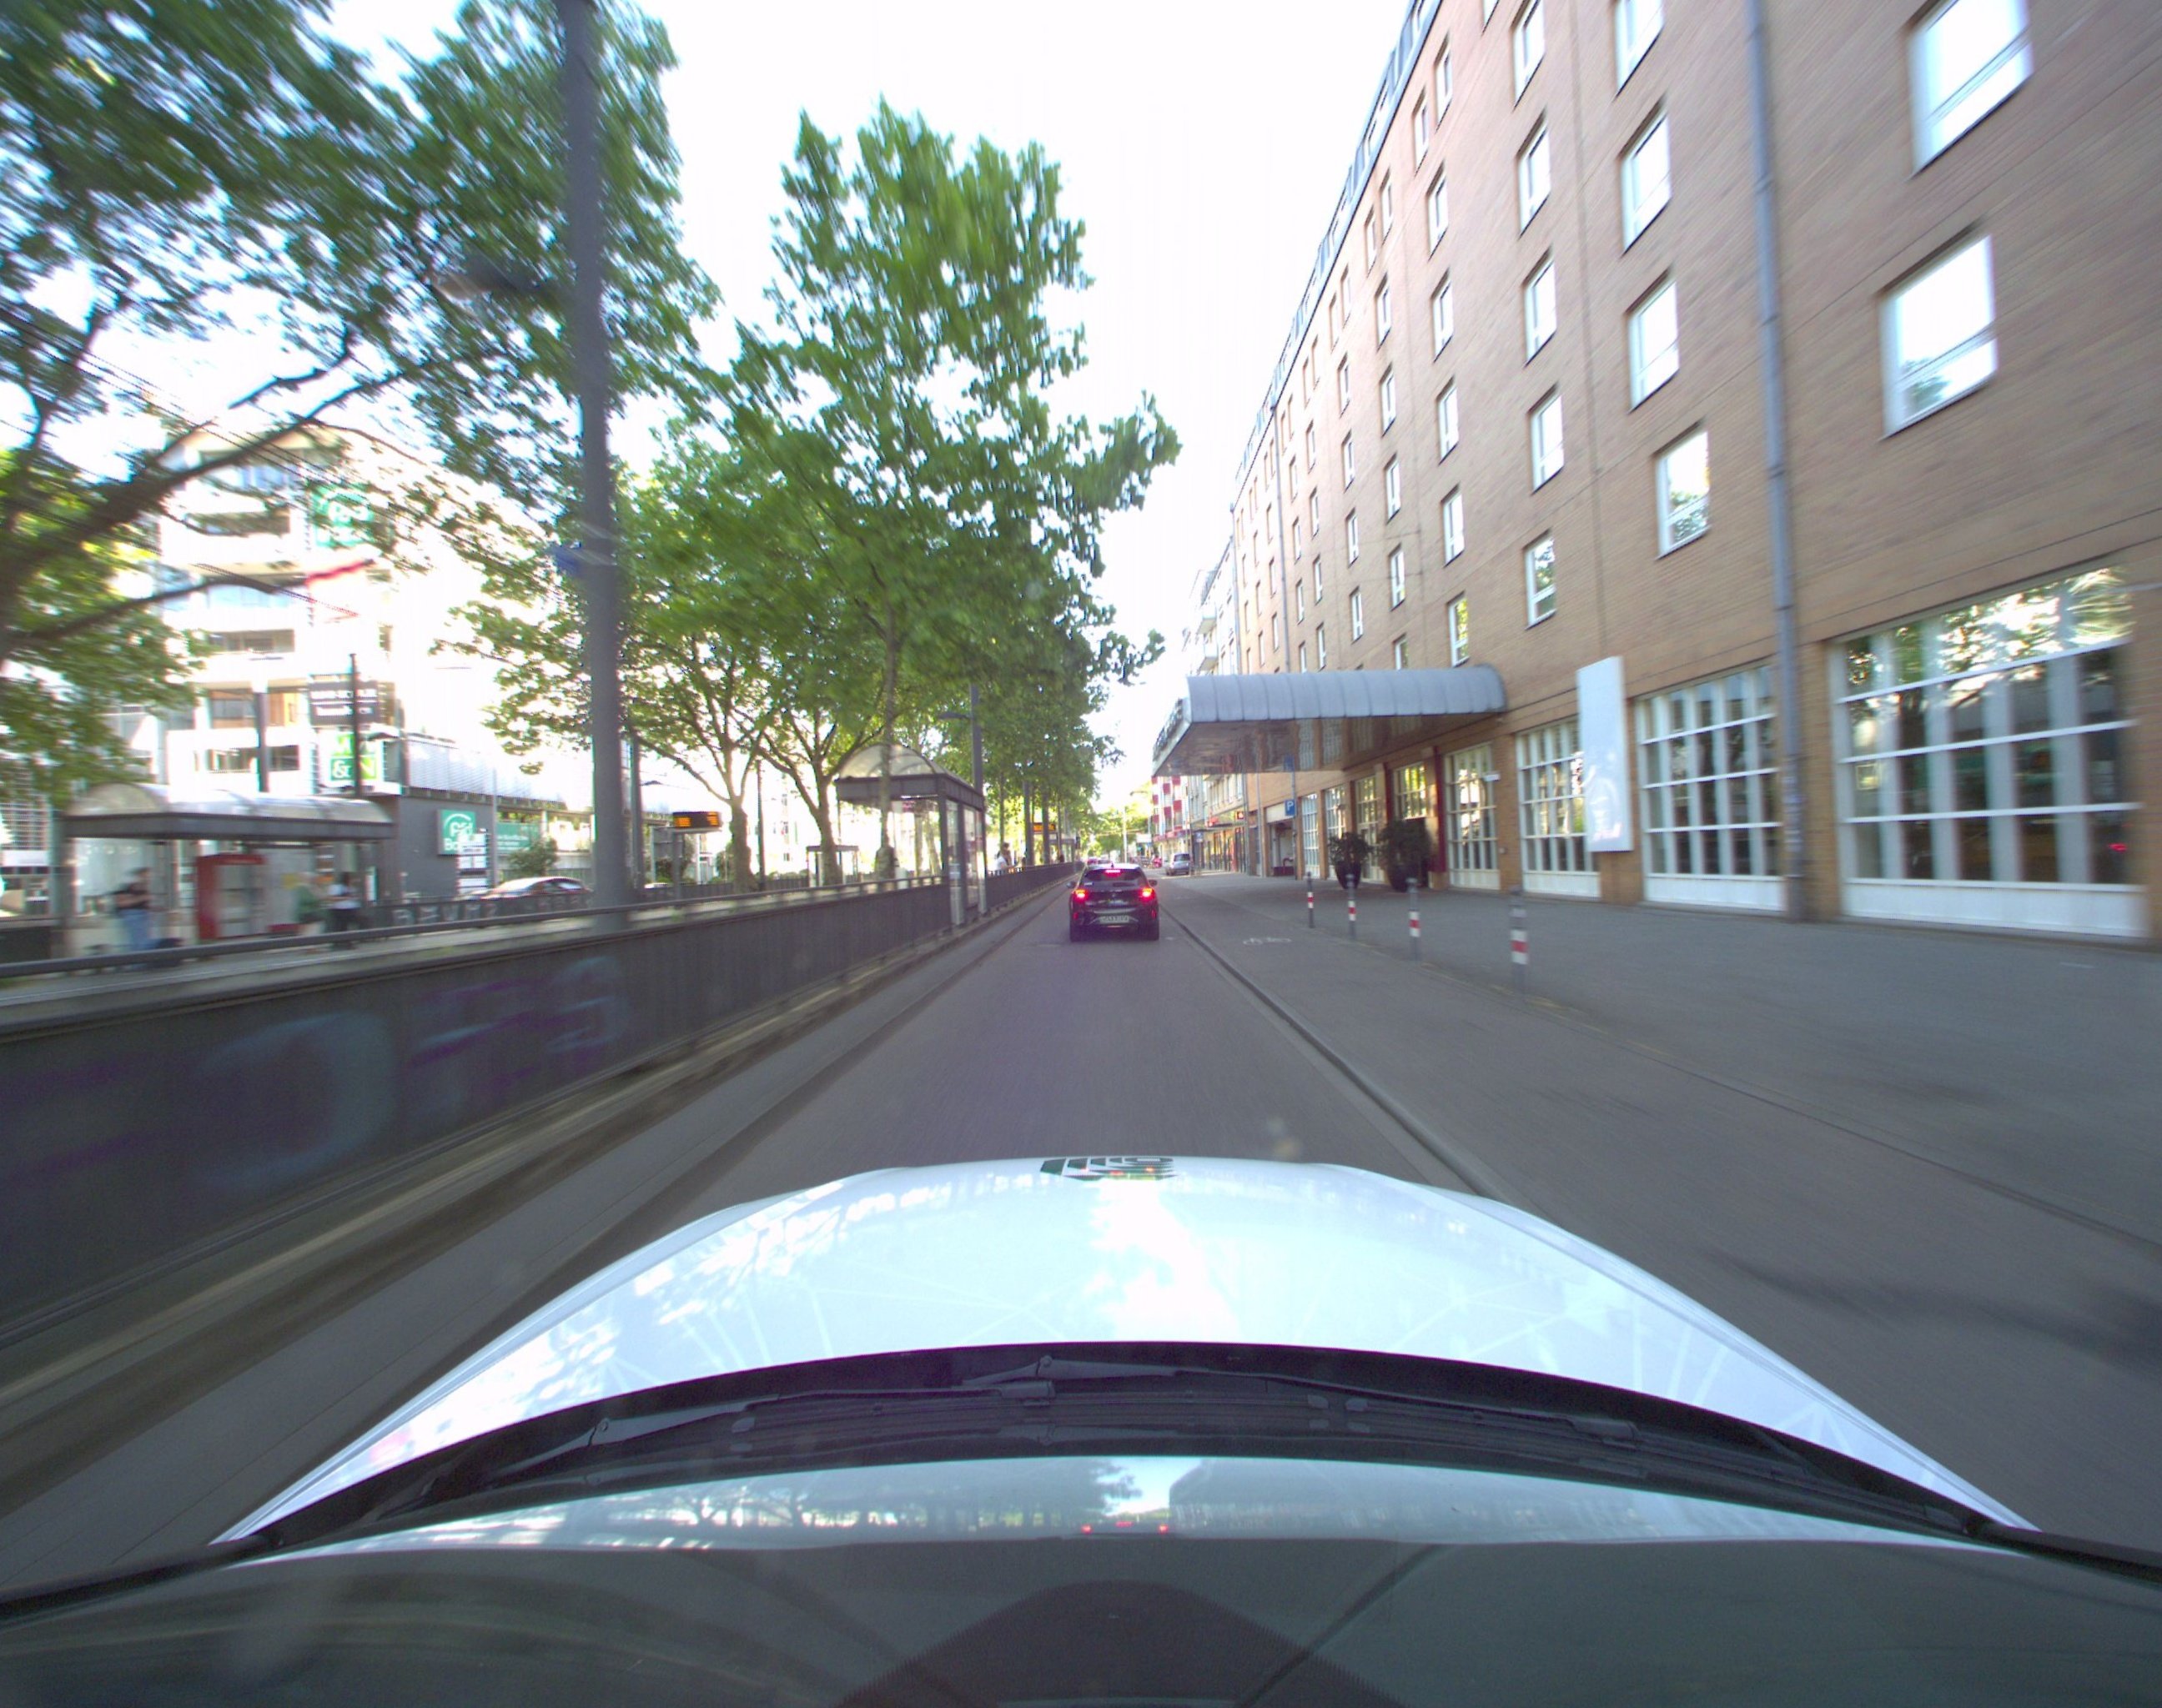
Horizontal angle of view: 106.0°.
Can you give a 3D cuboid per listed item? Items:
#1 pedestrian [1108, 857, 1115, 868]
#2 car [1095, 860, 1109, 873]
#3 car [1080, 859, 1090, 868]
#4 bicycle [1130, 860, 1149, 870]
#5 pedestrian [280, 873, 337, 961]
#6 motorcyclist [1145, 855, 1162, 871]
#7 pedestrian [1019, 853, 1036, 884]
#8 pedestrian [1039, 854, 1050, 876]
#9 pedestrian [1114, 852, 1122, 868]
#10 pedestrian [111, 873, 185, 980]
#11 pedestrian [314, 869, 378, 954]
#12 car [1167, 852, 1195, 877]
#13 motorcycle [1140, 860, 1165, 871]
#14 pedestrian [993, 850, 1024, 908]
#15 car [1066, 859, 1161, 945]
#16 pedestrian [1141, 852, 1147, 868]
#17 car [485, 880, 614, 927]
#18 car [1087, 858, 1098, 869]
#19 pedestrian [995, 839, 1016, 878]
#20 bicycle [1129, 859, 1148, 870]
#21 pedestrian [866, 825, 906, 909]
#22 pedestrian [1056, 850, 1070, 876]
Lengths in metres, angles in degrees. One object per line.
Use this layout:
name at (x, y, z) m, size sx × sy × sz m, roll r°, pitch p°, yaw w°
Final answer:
pedestrian at (5.063, 1.420, 135.463) m, size 0.914 × 1.776 × 1.150 m, roll -2°, pitch -1°, yaw -1°
car at (2.557, 1.530, 99.383) m, size 1.608 × 1.502 × 3.691 m, roll -2°, pitch -1°, yaw 1°
car at (0.716, 1.727, 148.307) m, size 1.608 × 1.502 × 3.691 m, roll -2°, pitch -1°, yaw 1°
bicycle at (7.361, 1.378, 103.319) m, size 2.345 × 1.234 × 0.684 m, roll -2°, pitch -1°, yaw 3°
pedestrian at (-14.332, 1.163, 15.112) m, size 0.498 × 1.573 × 0.495 m, roll -2°, pitch 1°, yaw 5°
motorcyclist at (8.153, 0.983, 91.744) m, size 1.312 × 1.698 × 1.225 m, roll -2°, pitch -1°, yaw -29°
pedestrian at (-2.450, 0.648, 37.342) m, size 0.602 × 1.365 × 0.486 m, roll -4°, pitch -1°, yaw 1°
pedestrian at (-2.306, 0.691, 51.429) m, size 0.602 × 1.365 × 0.486 m, roll -4°, pitch -1°, yaw 1°
pedestrian at (7.121, 1.167, 157.343) m, size 1.154 × 2.872 × 0.910 m, roll -2°, pitch -1°, yaw -32°
pedestrian at (-14.510, 1.107, 12.687) m, size 0.479 × 1.573 × 0.676 m, roll -2°, pitch 1°, yaw 44°
pedestrian at (-14.195, 1.097, 15.741) m, size 0.559 × 1.573 × 0.641 m, roll -2°, pitch 1°, yaw 14°
car at (7.092, 0.729, 57.885) m, size 1.665 × 1.652 × 3.693 m, roll -2°, pitch -1°, yaw 2°
motorcycle at (8.086, 1.295, 91.871) m, size 1.312 × 1.058 × 3.069 m, roll -2°, pitch -1°, yaw -28°
pedestrian at (-1.893, 0.642, 21.223) m, size 0.720 × 1.445 × 0.626 m, roll -2°, pitch -1°, yaw -2°
car at (0.689, 0.888, 16.640) m, size 1.665 × 1.502 × 3.693 m, roll -2°, pitch -1°, yaw 3°
pedestrian at (11.493, 1.111, 149.690) m, size 0.914 × 2.871 × 1.150 m, roll -2°, pitch -1°, yaw 0°
car at (-18.355, 1.678, 28.371) m, size 1.659 × 1.407 × 4.004 m, roll -2°, pitch -1°, yaw 4°
car at (1.675, 1.352, 117.199) m, size 1.608 × 1.502 × 3.691 m, roll -2°, pitch -1°, yaw 1°
pedestrian at (-2.723, 0.164, 29.522) m, size 0.602 × 1.365 × 0.486 m, roll -4°, pitch -1°, yaw 1°
bicycle at (7.410, 1.348, 105.012) m, size 2.345 × 1.234 × 0.684 m, roll -2°, pitch -1°, yaw 3°
pedestrian at (-4.065, 0.271, 17.007) m, size 0.602 × 1.680 × 0.486 m, roll -4°, pitch -1°, yaw 1°
pedestrian at (-1.020, 0.520, 46.399) m, size 0.720 × 1.445 × 0.626 m, roll -2°, pitch -1°, yaw -2°
